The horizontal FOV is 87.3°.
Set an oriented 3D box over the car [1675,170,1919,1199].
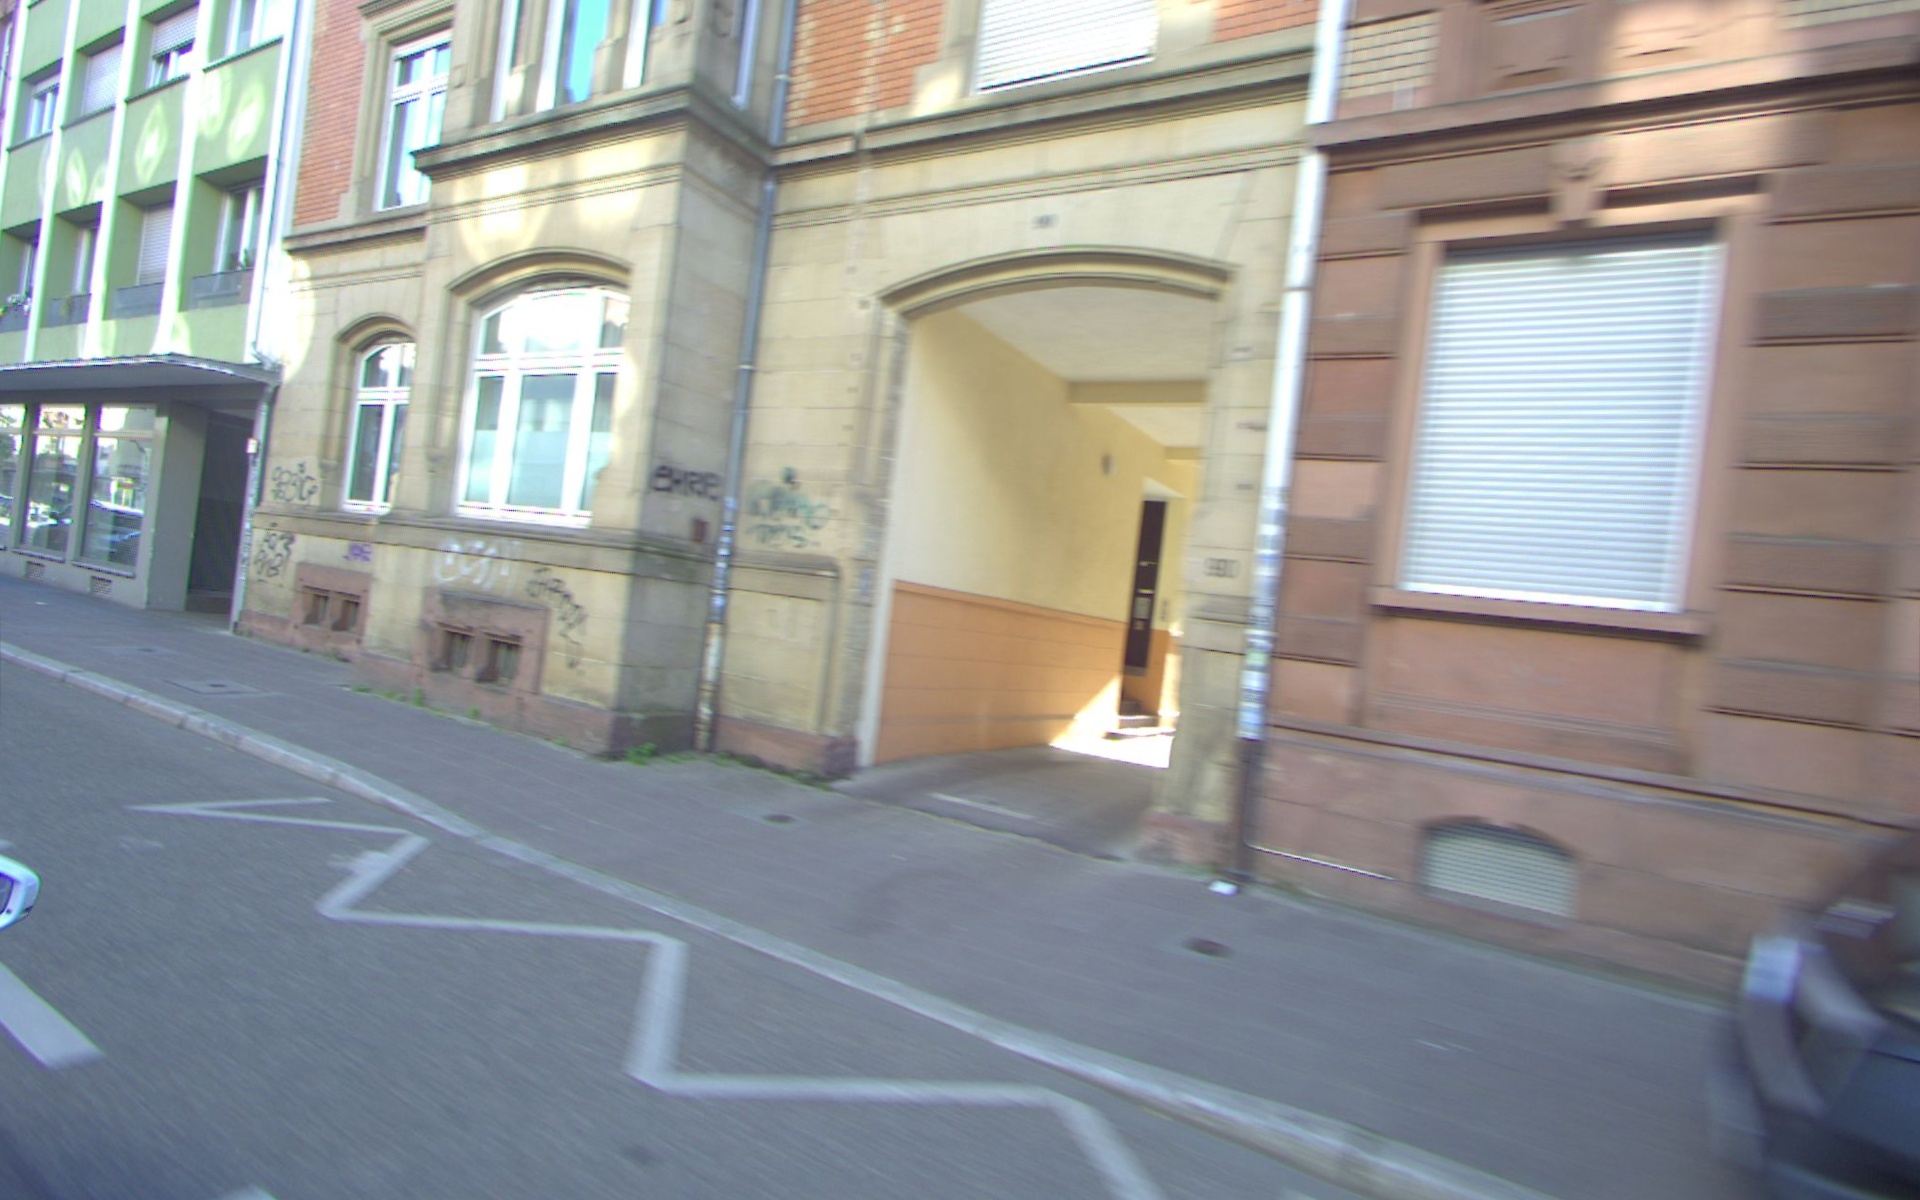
[{"bbox_3d":[4.503,0.832,1.099,5.762,2.521,2.126,6,-2,34],"label":"car"}]
